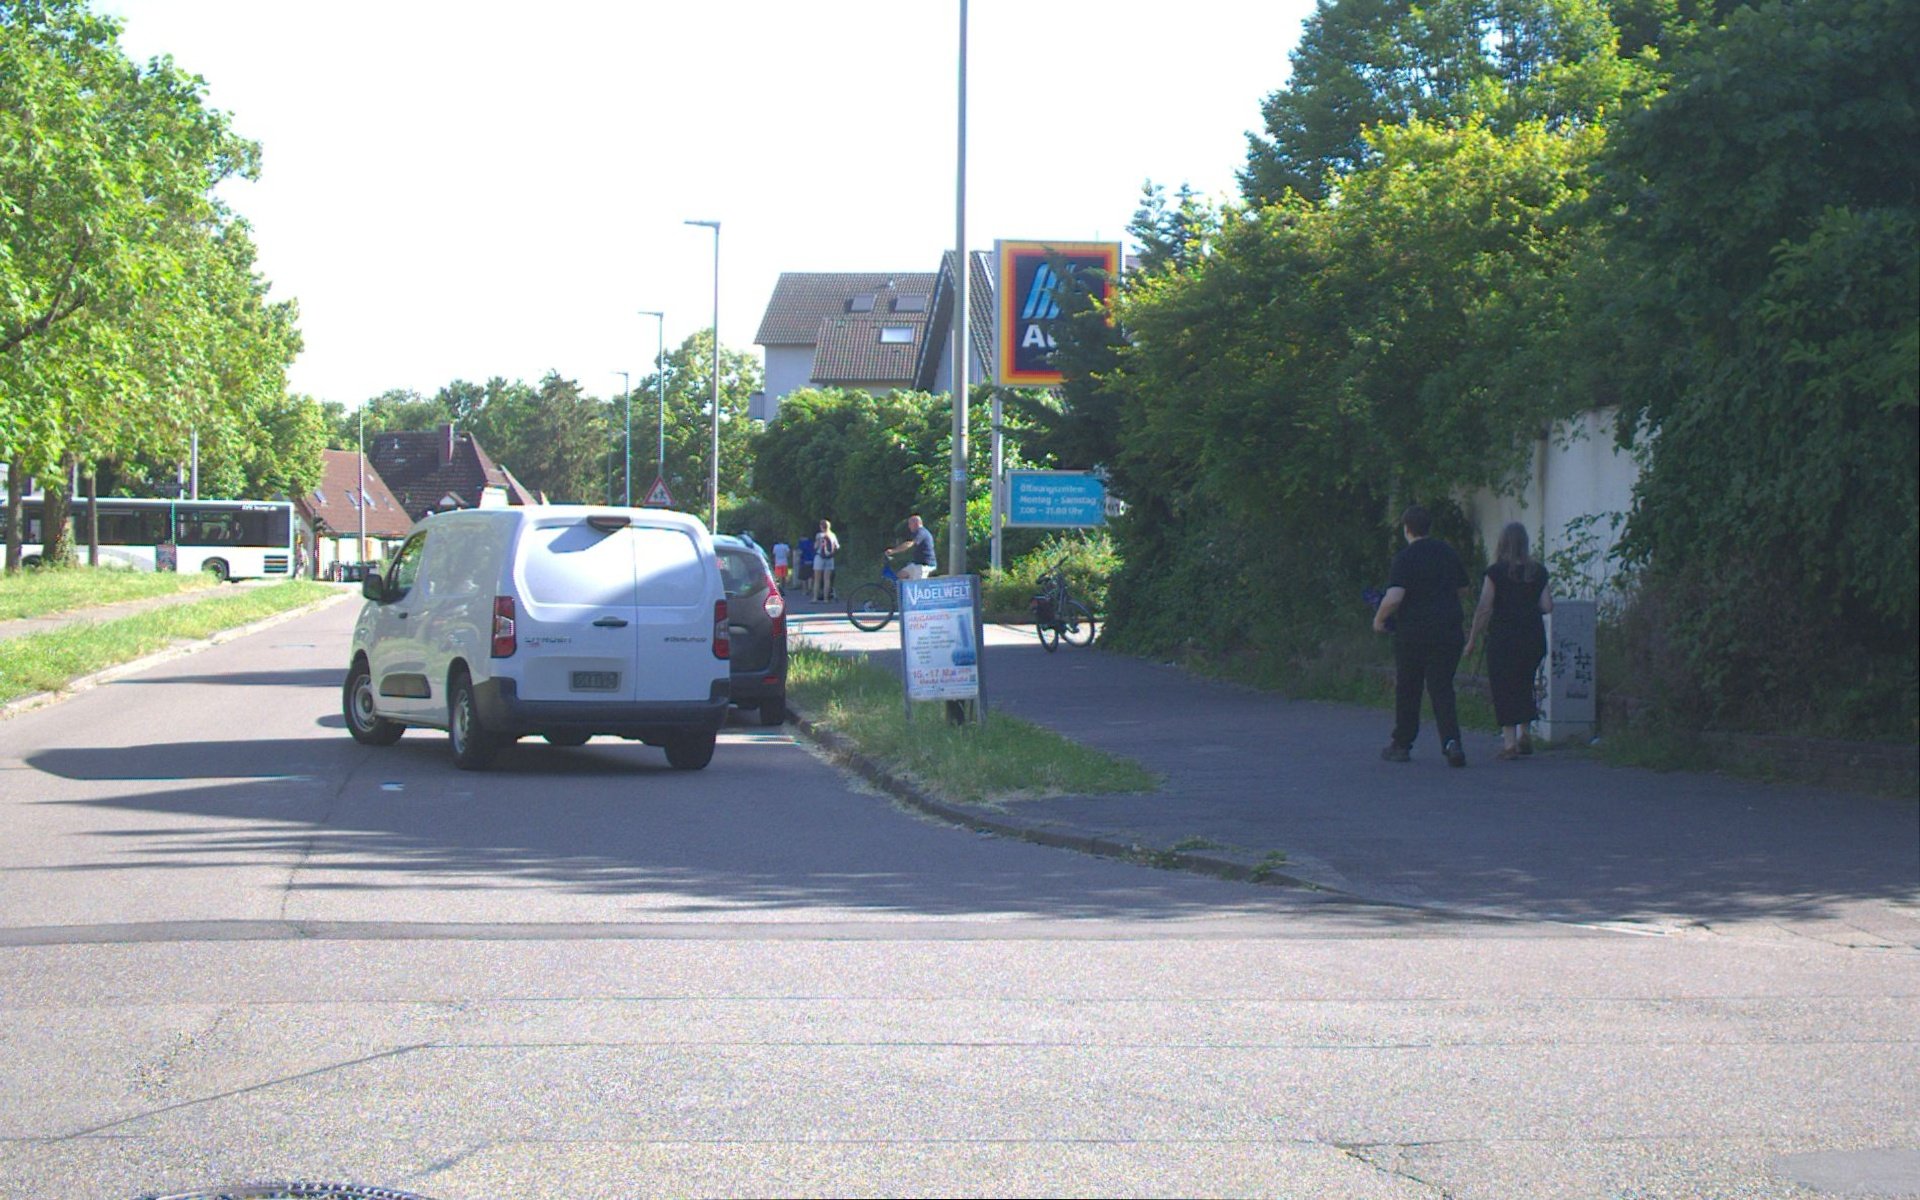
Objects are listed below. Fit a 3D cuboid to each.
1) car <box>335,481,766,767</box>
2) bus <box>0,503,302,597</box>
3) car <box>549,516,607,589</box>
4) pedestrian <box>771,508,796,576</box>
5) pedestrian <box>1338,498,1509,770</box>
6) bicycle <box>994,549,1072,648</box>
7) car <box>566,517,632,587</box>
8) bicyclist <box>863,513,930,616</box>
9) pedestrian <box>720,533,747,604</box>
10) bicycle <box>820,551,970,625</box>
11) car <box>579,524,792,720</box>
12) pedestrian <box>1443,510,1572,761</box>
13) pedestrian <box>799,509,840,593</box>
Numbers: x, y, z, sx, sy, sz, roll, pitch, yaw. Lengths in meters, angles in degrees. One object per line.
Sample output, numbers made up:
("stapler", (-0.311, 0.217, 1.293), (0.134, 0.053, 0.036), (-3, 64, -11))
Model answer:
("car", (-3.074, 0.120, 24.965), (1.993, 1.875, 4.290), (0, 1, -23))
("bus", (-26.197, -1.539, 108.072), (10.558, 2.815, 3.047), (0, 1, -36))
("car", (-14.146, -1.715, 127.129), (1.866, 2.554, 4.769), (3, 0, -8))
("pedestrian", (-4.286, -1.409, 83.610), (0.567, 1.631, 0.546), (1, 1, -2))
("pedestrian", (3.007, 0.216, 22.385), (0.803, 1.711, 0.984), (-1, 0, -10))
("bicycle", (0.940, -0.016, 43.802), (0.720, 1.216, 1.895), (-1, 0, 9))
("car", (-9.836, -1.312, 93.679), (1.724, 1.831, 4.001), (1, 1, -6))
("bicyclist", (-0.990, -0.553, 53.597), (0.963, 1.579, 0.908), (-1, 0, -5))
("pedestrian", (-5.241, -0.732, 79.563), (0.567, 1.631, 0.546), (1, 1, -2))
("bicycle", (-1.022, -0.191, 53.585), (2.272, 1.135, 0.789), (-1, 0, -5))
("car", (-2.570, 0.139, 31.388), (1.724, 1.651, 4.354), (0, 1, -7))
("pedestrian", (3.588, 0.230, 22.561), (0.573, 1.604, 0.793), (-1, 0, -10))
("pedestrian", (-3.010, -1.057, 73.708), (0.798, 1.775, 0.809), (1, 1, 1))
